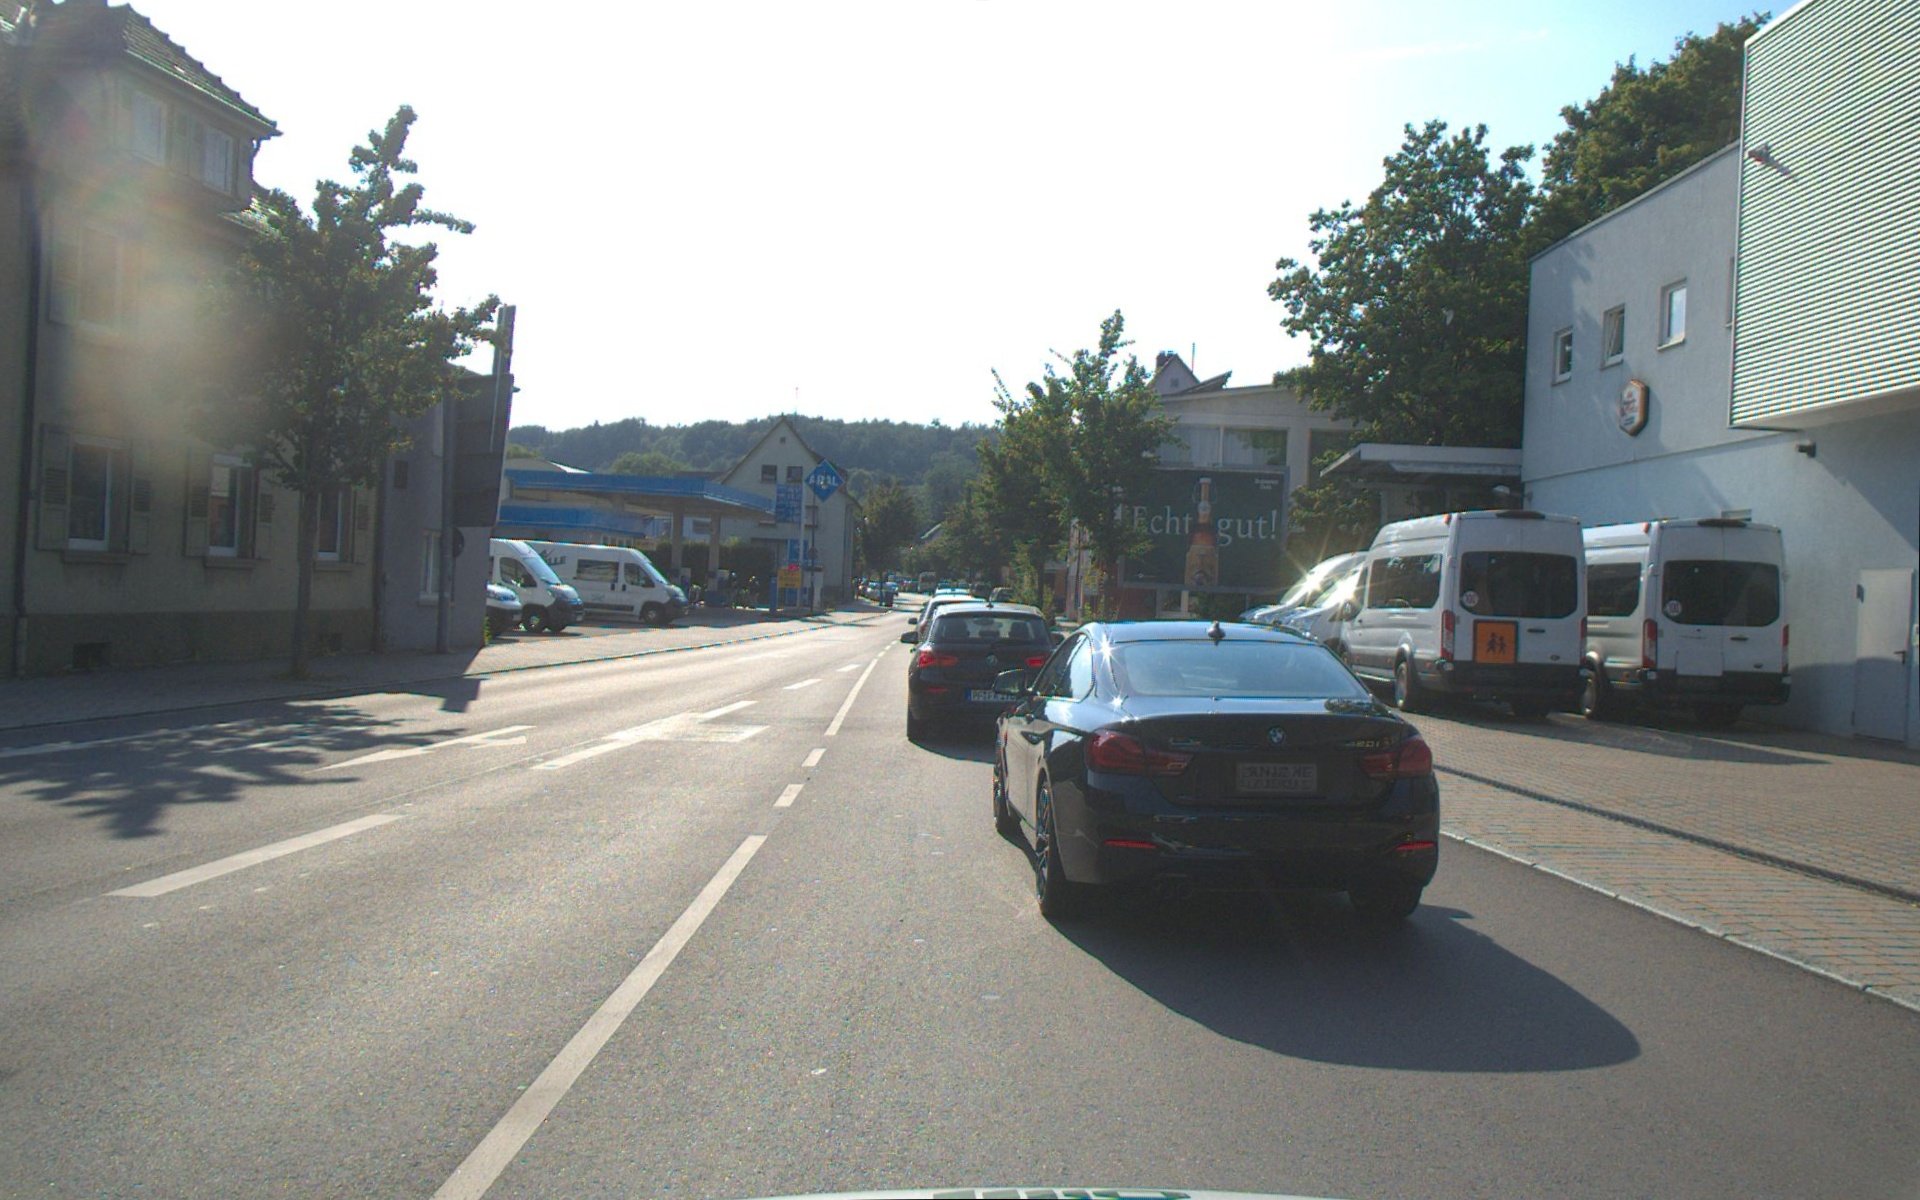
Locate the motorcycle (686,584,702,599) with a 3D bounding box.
[{"bbox_3d":[-13.957,-0.430,86.845,0.449,0.742,1.475,2,0,7],"label":"motorcycle"}]

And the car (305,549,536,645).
[{"bbox_3d":[-13.012,-0.079,40.074,4.872,2.034,1.936,3,0,3],"label":"car"}]

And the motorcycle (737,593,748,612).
[{"bbox_3d":[-11.353,0.108,86.411,0.356,0.960,1.695,2,1,-1],"label":"motorcycle"}]

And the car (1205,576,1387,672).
[{"bbox_3d":[7.184,0.490,35.559,3.527,1.927,1.586,2,0,-3],"label":"car"}]

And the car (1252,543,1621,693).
[{"bbox_3d":[8.365,0.304,29.399,5.922,2.404,2.043,2,0,-2],"label":"car"}]

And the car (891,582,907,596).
[{"bbox_3d":[-6.717,-1.226,181.830,1.564,1.511,3.474,3,1,-1],"label":"car"}]

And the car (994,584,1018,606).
[{"bbox_3d":[3.336,-0.356,121.338,1.564,1.511,3.474,3,1,-1],"label":"car"}]

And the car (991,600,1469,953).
[{"bbox_3d":[1.167,0.737,8.982,1.666,1.393,4.260,1,1,-3],"label":"car"}]

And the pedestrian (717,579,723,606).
[{"bbox_3d":[-12.474,-0.392,85.976,0.257,1.407,0.288,2,0,-1],"label":"pedestrian"}]

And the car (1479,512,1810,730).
[{"bbox_3d":[9.884,0.232,24.664,2.069,2.769,6.441,2,1,-2],"label":"car"}]

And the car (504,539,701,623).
[{"bbox_3d":[-11.999,-0.636,55.784,6.033,2.487,2.249,3,0,0],"label":"car"}]

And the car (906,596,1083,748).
[{"bbox_3d":[0.384,0.718,18.353,1.735,1.482,3.516,2,0,1],"label":"car"}]

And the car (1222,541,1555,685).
[{"bbox_3d":[8.307,0.243,32.405,5.922,2.560,2.043,2,0,-2],"label":"car"}]

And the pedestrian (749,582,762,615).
[{"bbox_3d":[-10.717,-0.081,86.755,0.598,1.699,0.442,2,0,-3],"label":"pedestrian"}]

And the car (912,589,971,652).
[{"bbox_3d":[-0.534,0.547,46.518,1.559,1.628,3.893,2,1,-1],"label":"car"}]

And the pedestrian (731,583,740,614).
[{"bbox_3d":[-11.783,-0.076,86.855,0.399,1.574,0.432,1,0,-3],"label":"pedestrian"}]

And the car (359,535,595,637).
[{"bbox_3d":[-13.383,-0.406,46.036,5.795,2.523,2.195,3,1,4],"label":"car"}]

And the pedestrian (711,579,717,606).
[{"bbox_3d":[-12.680,-0.384,85.273,0.281,1.390,0.262,1,0,-4],"label":"pedestrian"}]

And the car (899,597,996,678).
[{"bbox_3d":[-0.301,0.696,32.817,1.719,1.438,3.419,2,1,-4],"label":"car"}]

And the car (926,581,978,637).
[{"bbox_3d":[-0.249,0.279,56.413,1.569,1.798,3.412,2,1,2],"label":"car"}]

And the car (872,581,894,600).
[{"bbox_3d":[-6.211,-0.781,133.765,1.564,1.511,3.474,3,1,-1],"label":"car"}]

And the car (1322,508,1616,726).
[{"bbox_3d":[7.221,0.175,24.403,2.106,2.727,6.602,2,1,-1],"label":"car"}]
